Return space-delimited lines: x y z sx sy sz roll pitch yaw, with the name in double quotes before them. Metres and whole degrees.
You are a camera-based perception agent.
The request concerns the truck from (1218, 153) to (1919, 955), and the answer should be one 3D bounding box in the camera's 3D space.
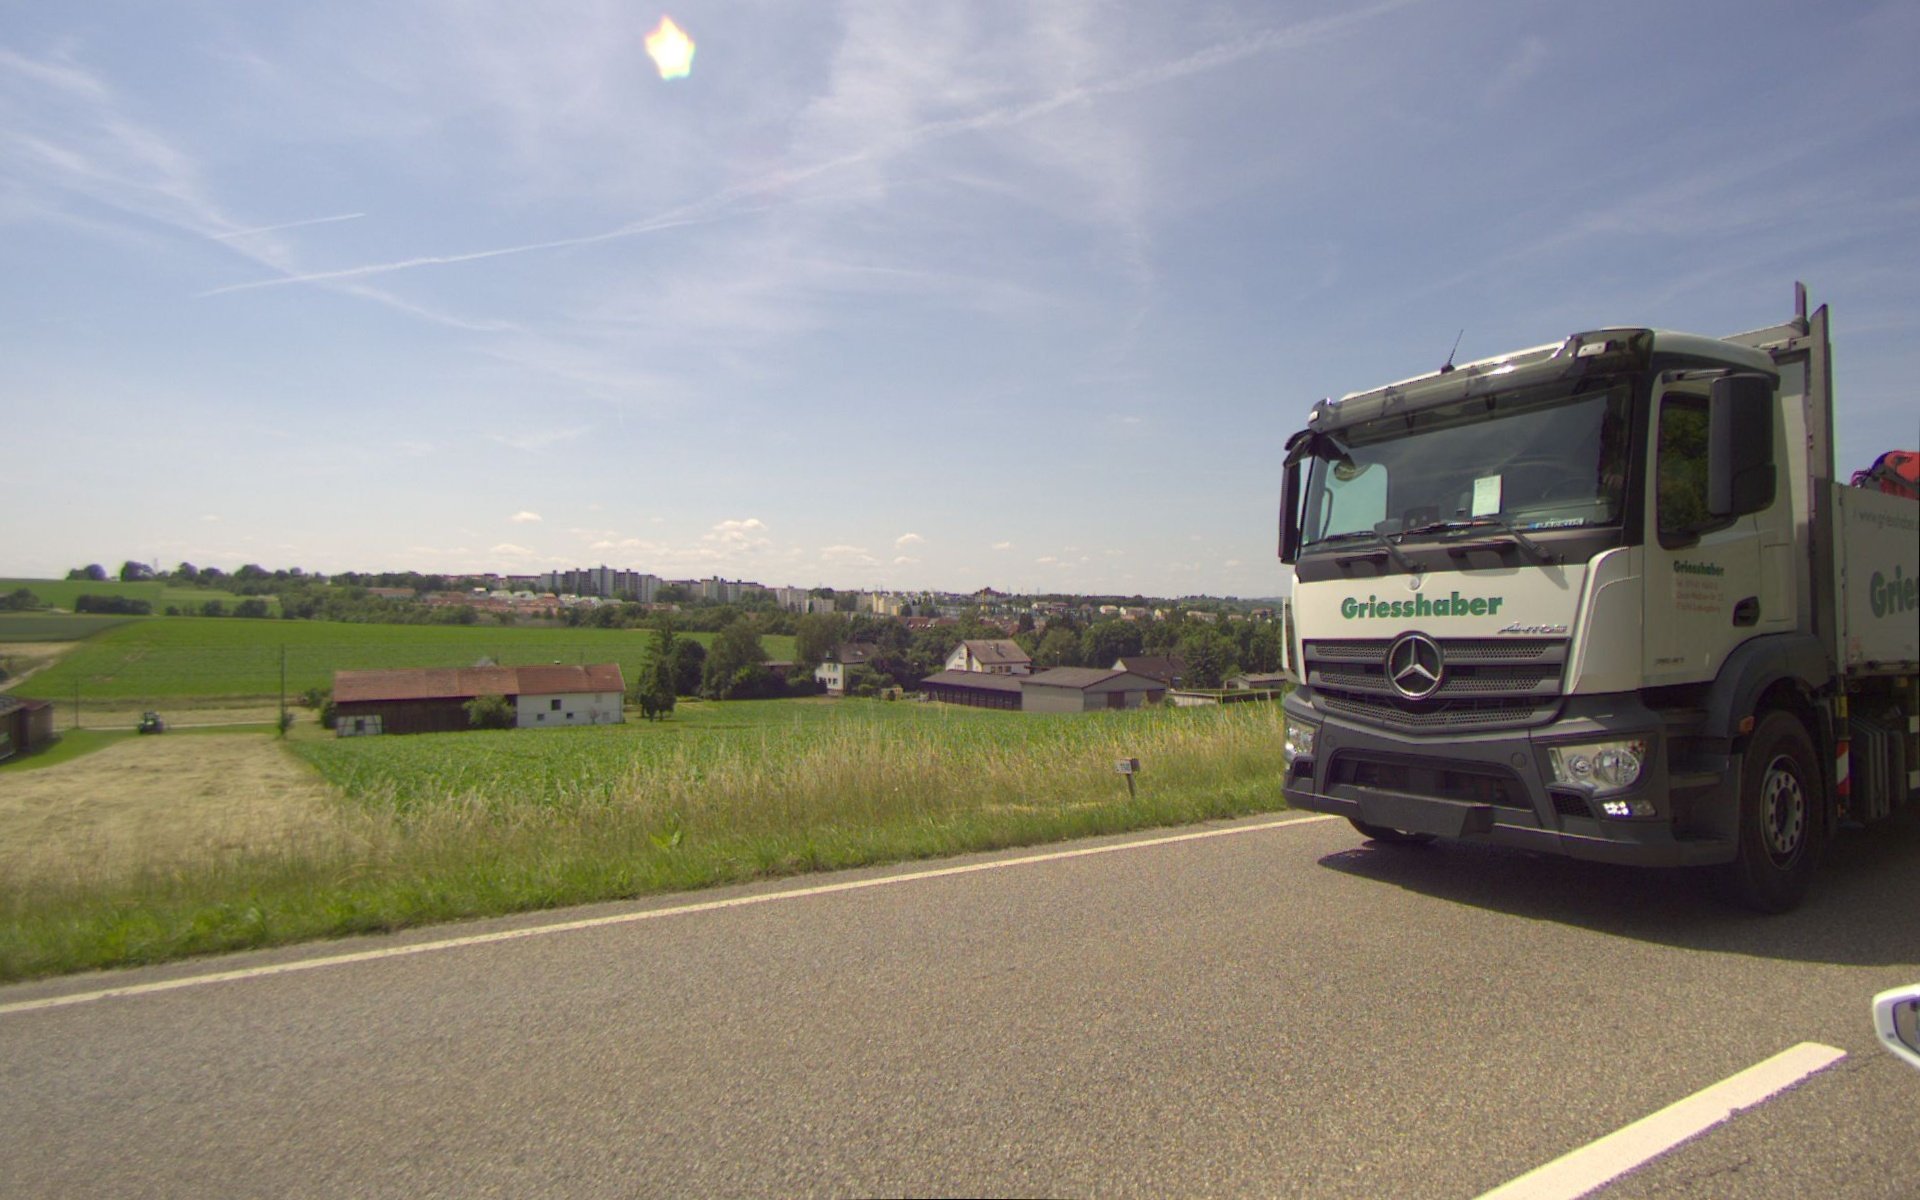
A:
"truck" 7.154 -0.071 8.567 10.939 3.623 2.743 1 -3 -31
